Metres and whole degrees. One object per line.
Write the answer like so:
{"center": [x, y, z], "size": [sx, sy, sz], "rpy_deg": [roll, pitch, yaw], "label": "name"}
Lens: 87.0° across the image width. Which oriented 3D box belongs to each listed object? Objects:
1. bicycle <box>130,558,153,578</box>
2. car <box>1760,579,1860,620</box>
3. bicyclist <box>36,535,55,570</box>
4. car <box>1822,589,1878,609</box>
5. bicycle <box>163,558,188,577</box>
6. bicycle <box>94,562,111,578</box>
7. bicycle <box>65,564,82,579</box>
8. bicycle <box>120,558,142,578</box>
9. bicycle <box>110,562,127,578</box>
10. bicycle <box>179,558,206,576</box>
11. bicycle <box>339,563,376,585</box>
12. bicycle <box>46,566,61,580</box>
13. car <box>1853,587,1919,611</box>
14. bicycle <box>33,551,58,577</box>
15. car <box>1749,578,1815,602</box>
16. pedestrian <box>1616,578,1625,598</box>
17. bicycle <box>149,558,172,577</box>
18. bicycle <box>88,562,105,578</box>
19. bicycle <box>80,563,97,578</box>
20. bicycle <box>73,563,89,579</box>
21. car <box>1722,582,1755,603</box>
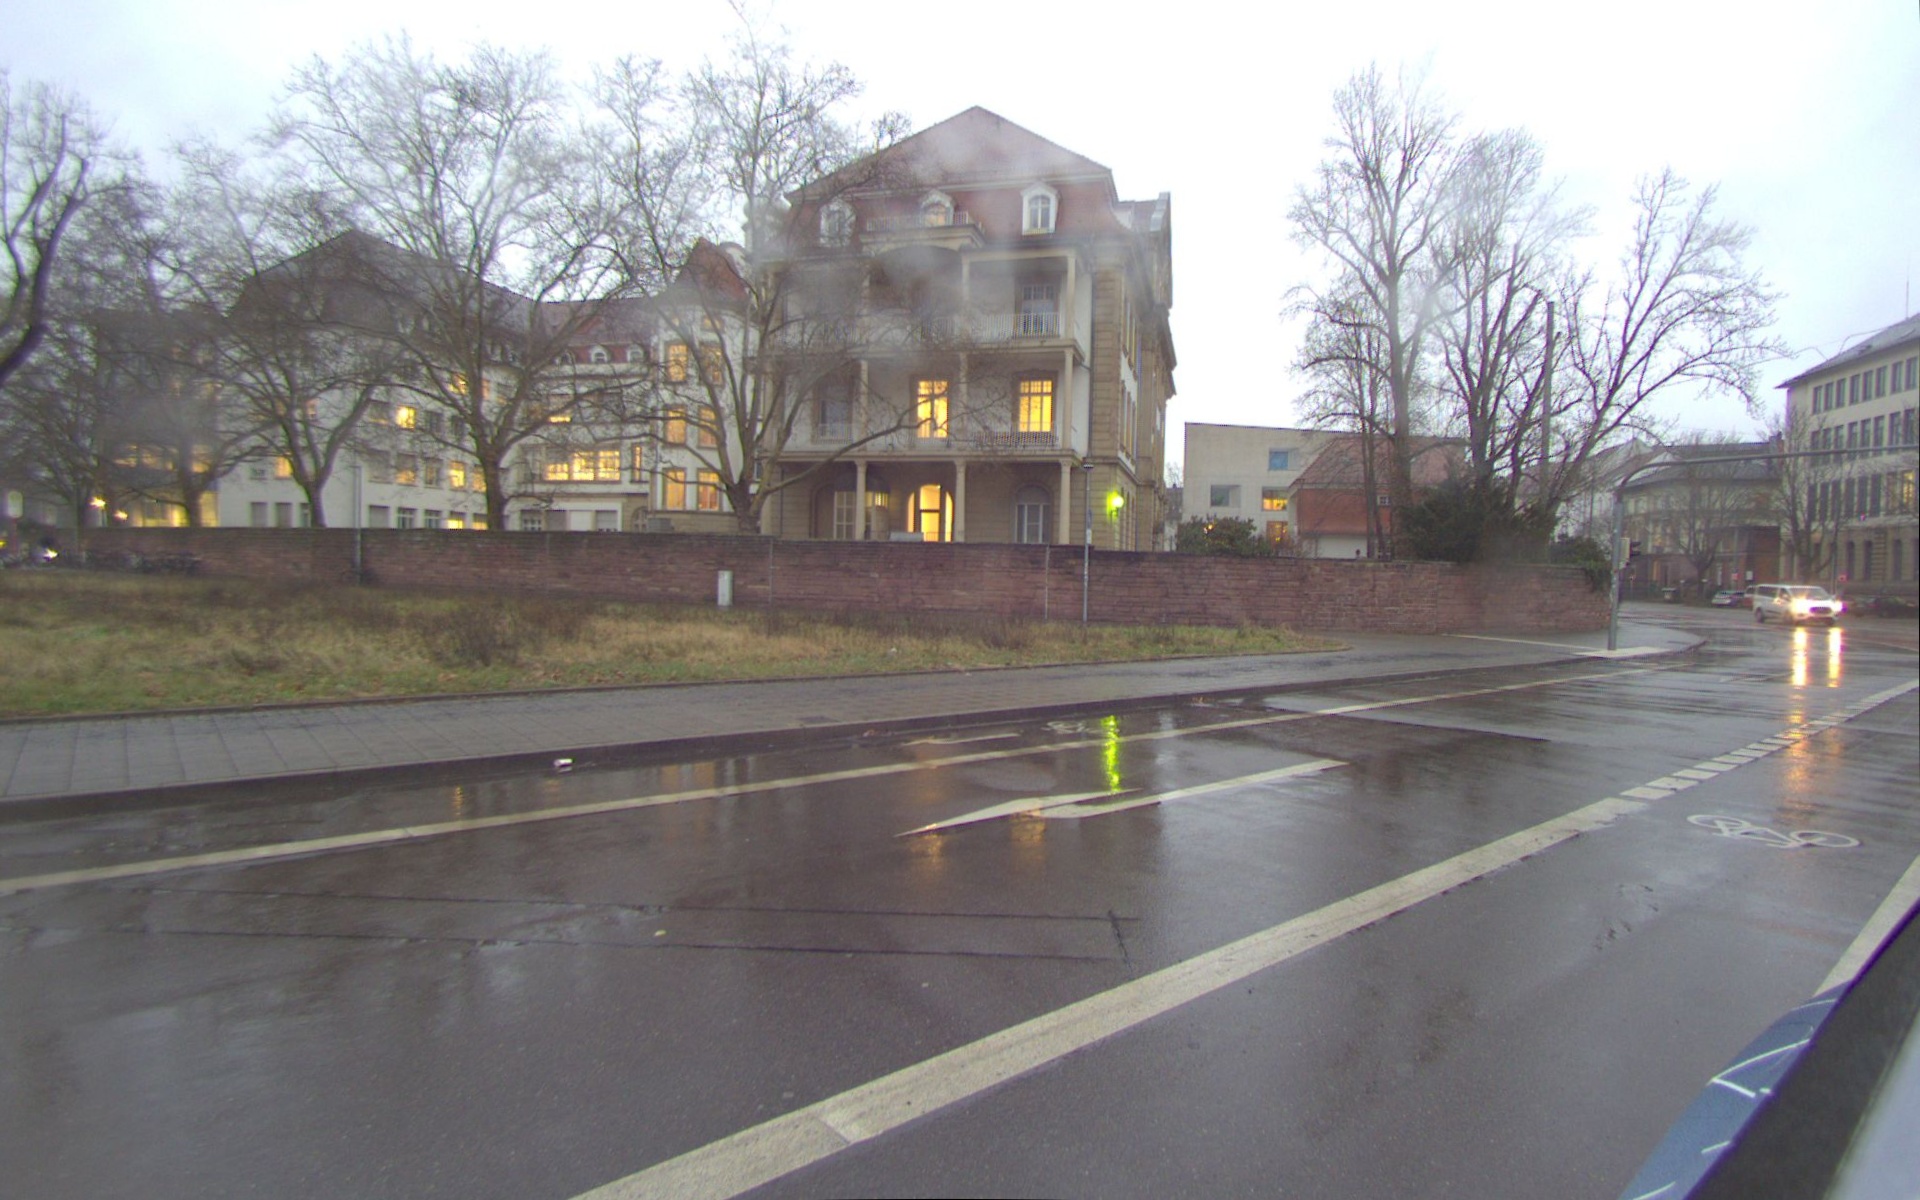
{"center": [-38.632, -1.506, 47.774], "size": [1.519, 0.869, 0.389], "rpy_deg": [0, 0, 33], "label": "bicycle"}
{"center": [43.892, -0.051, 52.415], "size": [1.970, 2.039, 4.871], "rpy_deg": [0, 0, 13], "label": "car"}
{"center": [-43.617, -2.257, 48.278], "size": [0.450, 1.662, 0.603], "rpy_deg": [0, 0, 37], "label": "bicyclist"}
{"center": [63.597, -0.082, 72.304], "size": [3.568, 1.322, 1.712], "rpy_deg": [-1, 0, -25], "label": "car"}
{"center": [-35.557, -1.468, 45.866], "size": [1.519, 0.796, 0.389], "rpy_deg": [0, 0, 33], "label": "bicycle"}
{"center": [-43.137, -1.494, 50.903], "size": [1.522, 0.796, 0.389], "rpy_deg": [0, 0, 38], "label": "bicycle"}
{"center": [-47.902, -1.536, 54.681], "size": [1.522, 0.796, 0.389], "rpy_deg": [0, 0, 38], "label": "bicycle"}
{"center": [-39.914, -1.538, 48.728], "size": [1.519, 0.928, 0.389], "rpy_deg": [0, 0, 33], "label": "bicycle"}
{"center": [-41.480, -1.475, 49.883], "size": [1.599, 0.796, 0.388], "rpy_deg": [0, 0, 41], "label": "bicycle"}
{"center": [-34.216, -1.467, 45.117], "size": [1.399, 0.796, 0.355], "rpy_deg": [0, 0, 26], "label": "bicycle"}
{"center": [-23.391, -0.988, 39.277], "size": [1.366, 0.835, 0.392], "rpy_deg": [0, 0, 14], "label": "bicycle"}
{"center": [-51.615, -1.545, 57.600], "size": [1.522, 0.796, 0.389], "rpy_deg": [0, 0, 38], "label": "bicycle"}
{"center": [61.958, -0.060, 67.009], "size": [3.927, 1.570, 1.800], "rpy_deg": [0, 0, 4], "label": "car"}
{"center": [-43.647, -1.709, 48.297], "size": [1.670, 1.182, 0.603], "rpy_deg": [0, 0, 37], "label": "bicycle"}
{"center": [64.976, -0.791, 80.027], "size": [3.916, 1.924, 2.052], "rpy_deg": [0, 0, -13], "label": "car"}
{"center": [68.760, -1.283, 105.327], "size": [0.539, 2.038, 0.473], "rpy_deg": [2, 2, 13], "label": "pedestrian"}
{"center": [-37.037, -1.496, 46.892], "size": [1.480, 0.849, 0.346], "rpy_deg": [0, 0, 32], "label": "bicycle"}
{"center": [-44.184, -1.528, 51.775], "size": [1.522, 0.796, 0.389], "rpy_deg": [0, 0, 38], "label": "bicycle"}
{"center": [-45.448, -1.531, 52.748], "size": [1.522, 0.796, 0.389], "rpy_deg": [0, 0, 38], "label": "bicycle"}
{"center": [-46.678, -1.534, 53.726], "size": [1.522, 0.796, 0.389], "rpy_deg": [0, 0, 38], "label": "bicycle"}
{"center": [66.476, -0.644, 86.391], "size": [1.992, 1.690, 3.940], "rpy_deg": [0, 1, 42], "label": "car"}
